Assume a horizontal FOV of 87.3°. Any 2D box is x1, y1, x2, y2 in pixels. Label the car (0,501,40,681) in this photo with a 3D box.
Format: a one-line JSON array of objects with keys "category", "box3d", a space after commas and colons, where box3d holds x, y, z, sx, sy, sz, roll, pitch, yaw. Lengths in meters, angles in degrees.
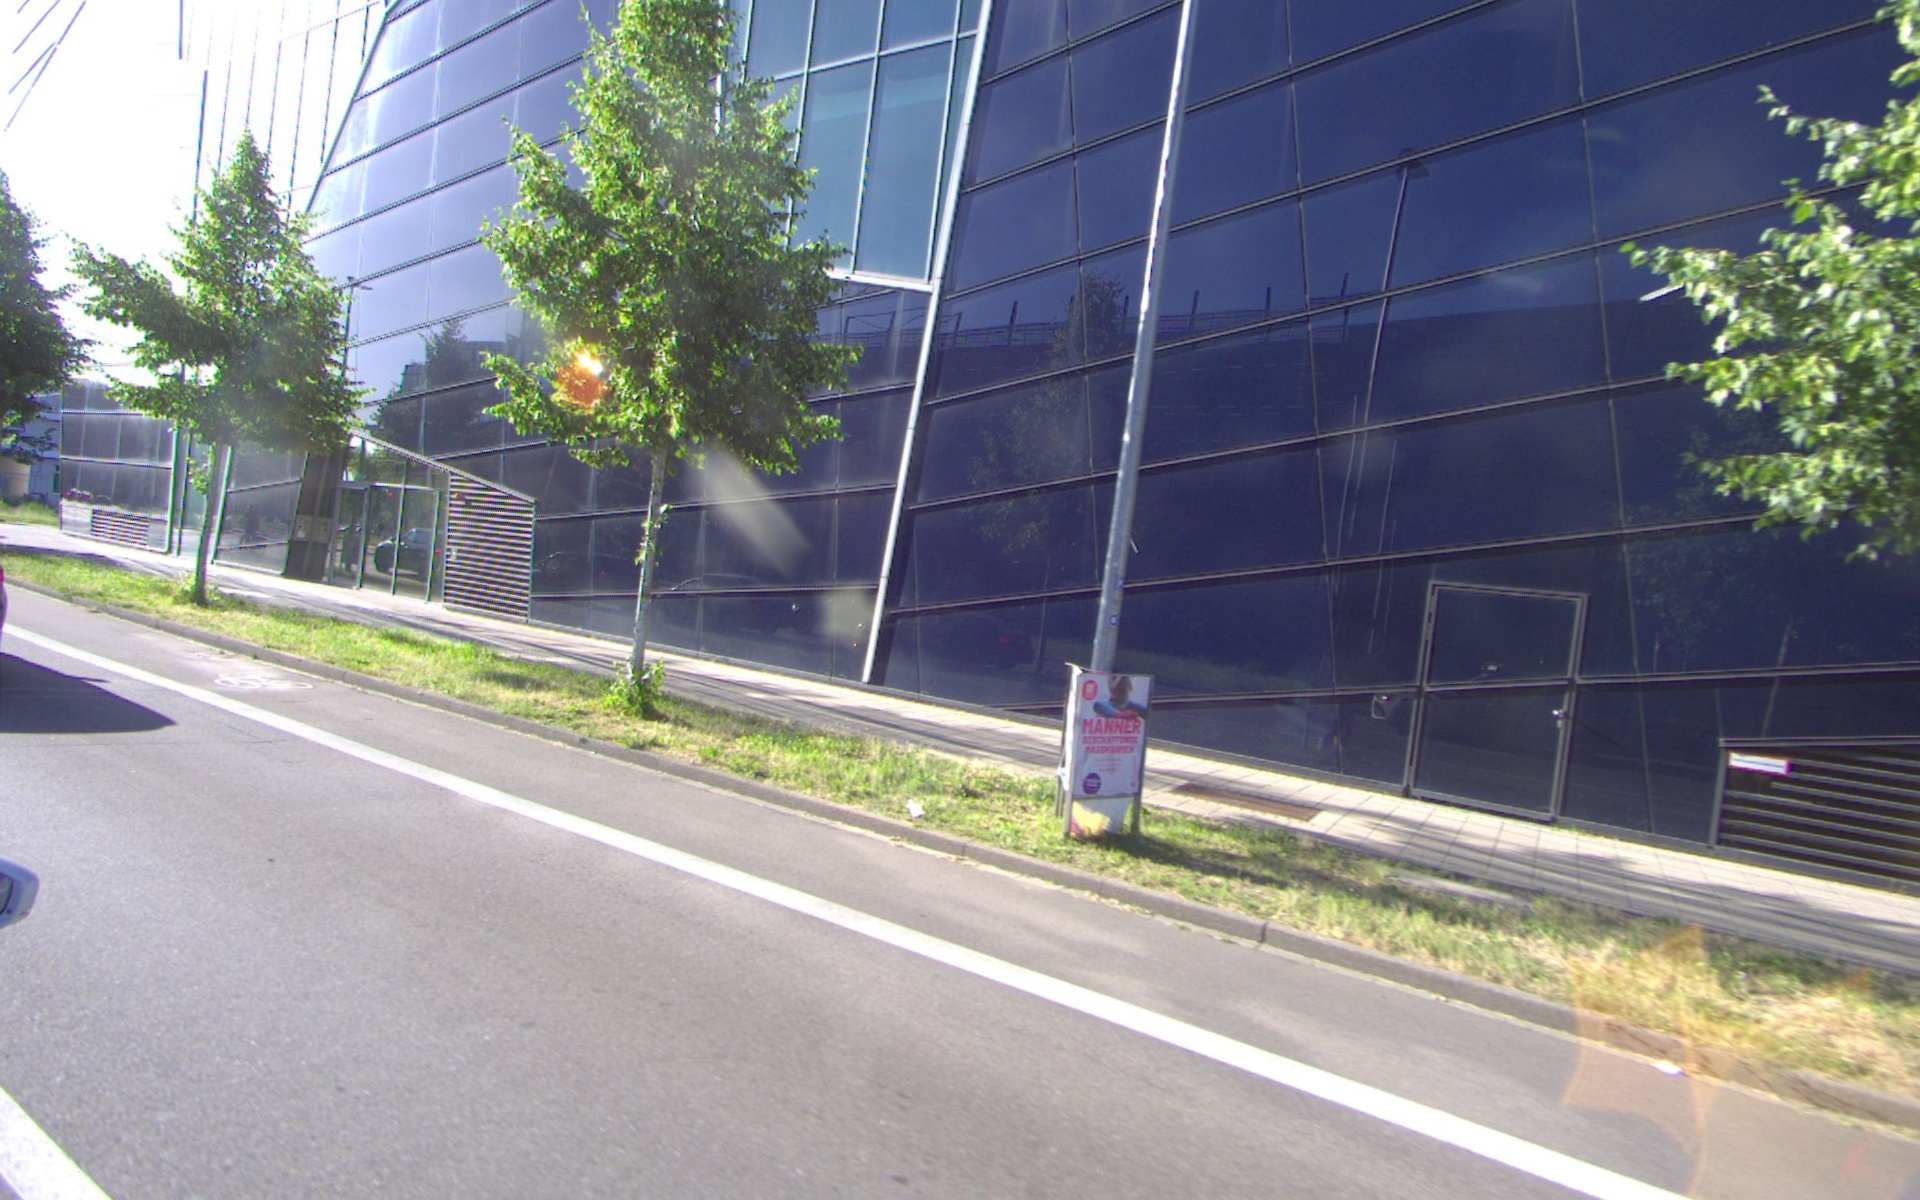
[{"category": "car", "box3d": [-9.660, -0.333, 8.507, 4.195, 1.408, 1.748, 7, -1, 34]}]
